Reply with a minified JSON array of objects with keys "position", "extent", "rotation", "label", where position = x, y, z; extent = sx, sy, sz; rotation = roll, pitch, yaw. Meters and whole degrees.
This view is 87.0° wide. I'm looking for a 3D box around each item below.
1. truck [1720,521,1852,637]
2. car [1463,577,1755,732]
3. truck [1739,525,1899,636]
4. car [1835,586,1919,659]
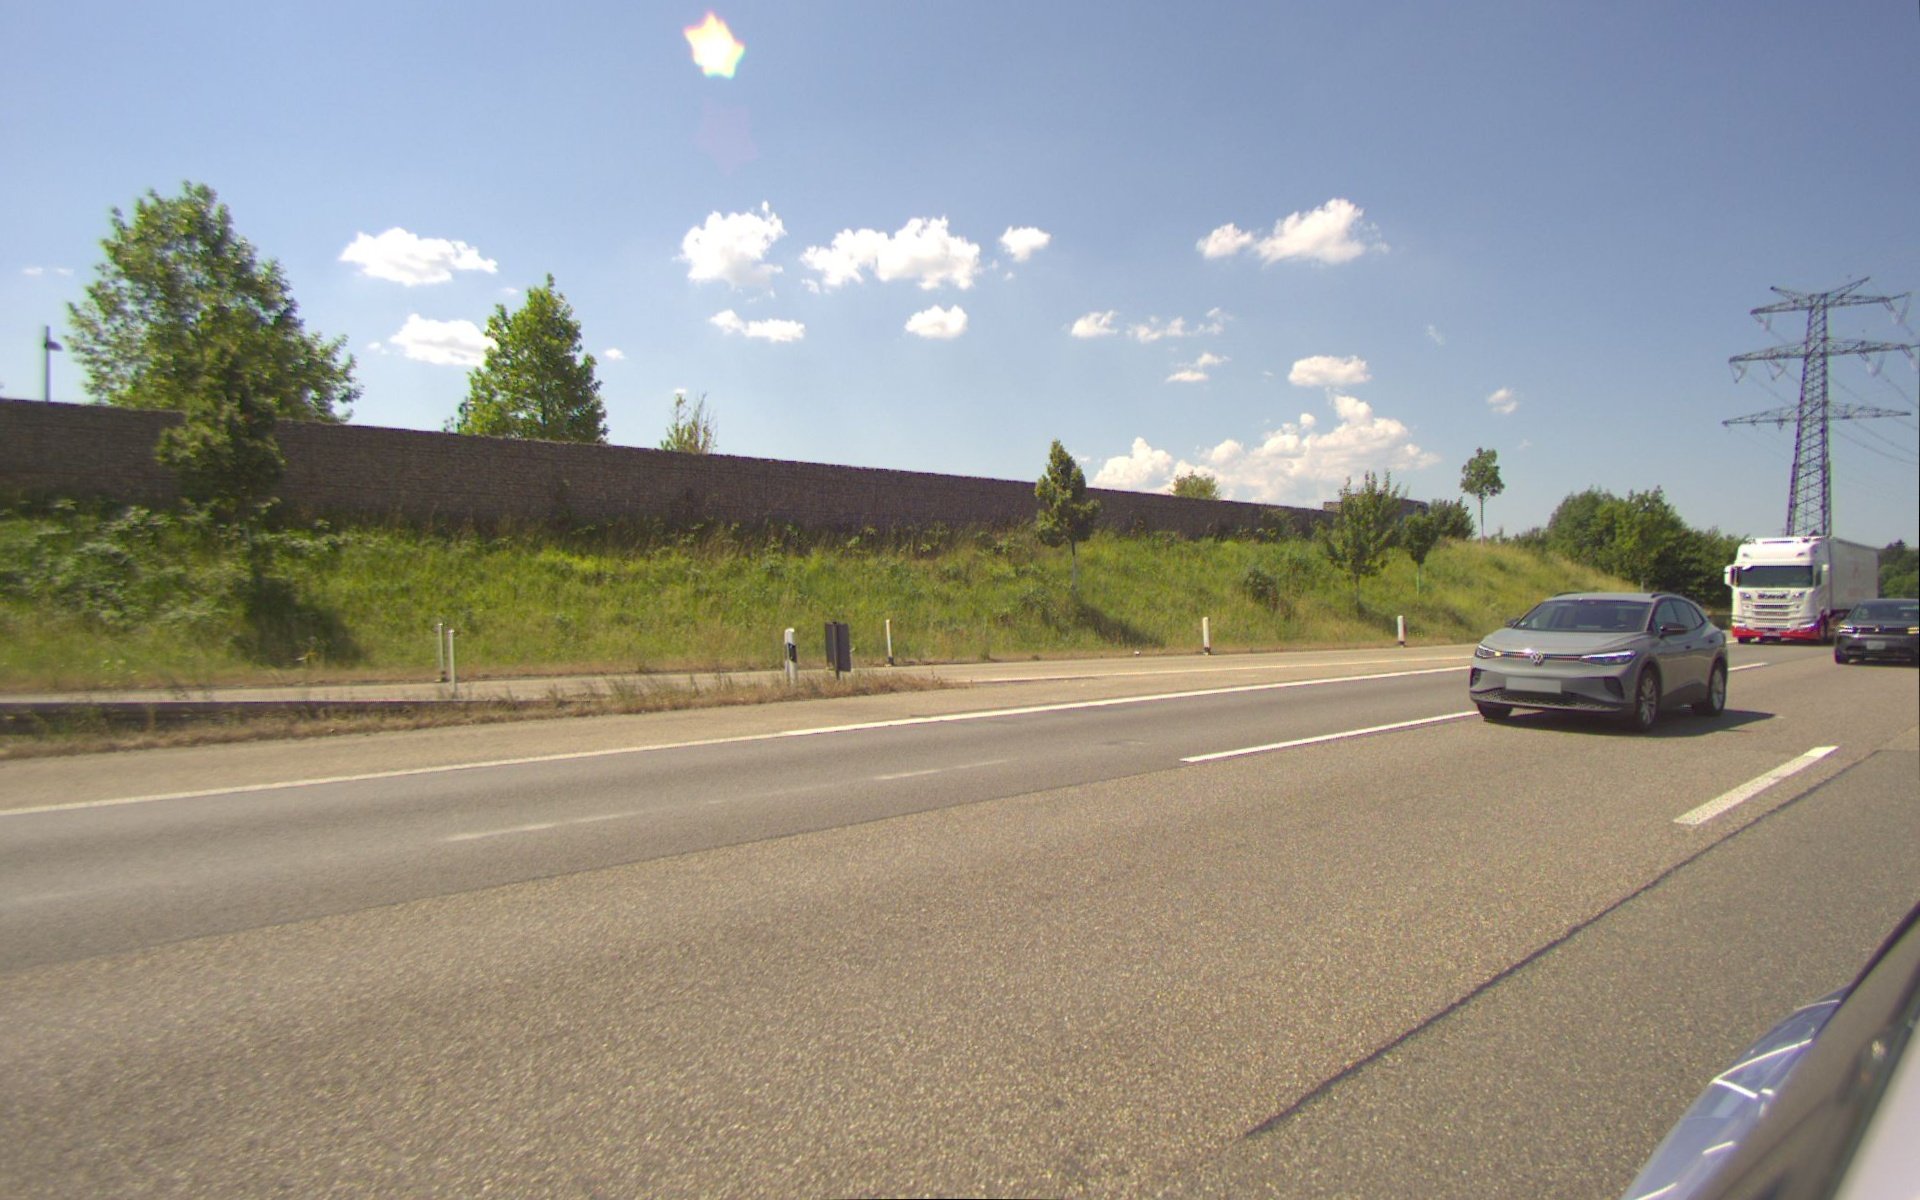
[{"position":[30.035,-0.705,36.790],"extent":[3.779,3.957,3.074],"rotation":[0,-1,-40],"label":"truck"},{"position":[8.456,0.581,13.021],"extent":[4.503,1.657,1.872],"rotation":[0,0,-39],"label":"car"},{"position":[35.213,-0.689,41.241],"extent":[12.283,3.957,3.074],"rotation":[0,0,-41],"label":"truck"},{"position":[23.260,0.524,24.970],"extent":[3.975,1.667,1.954],"rotation":[0,0,-40],"label":"car"}]
